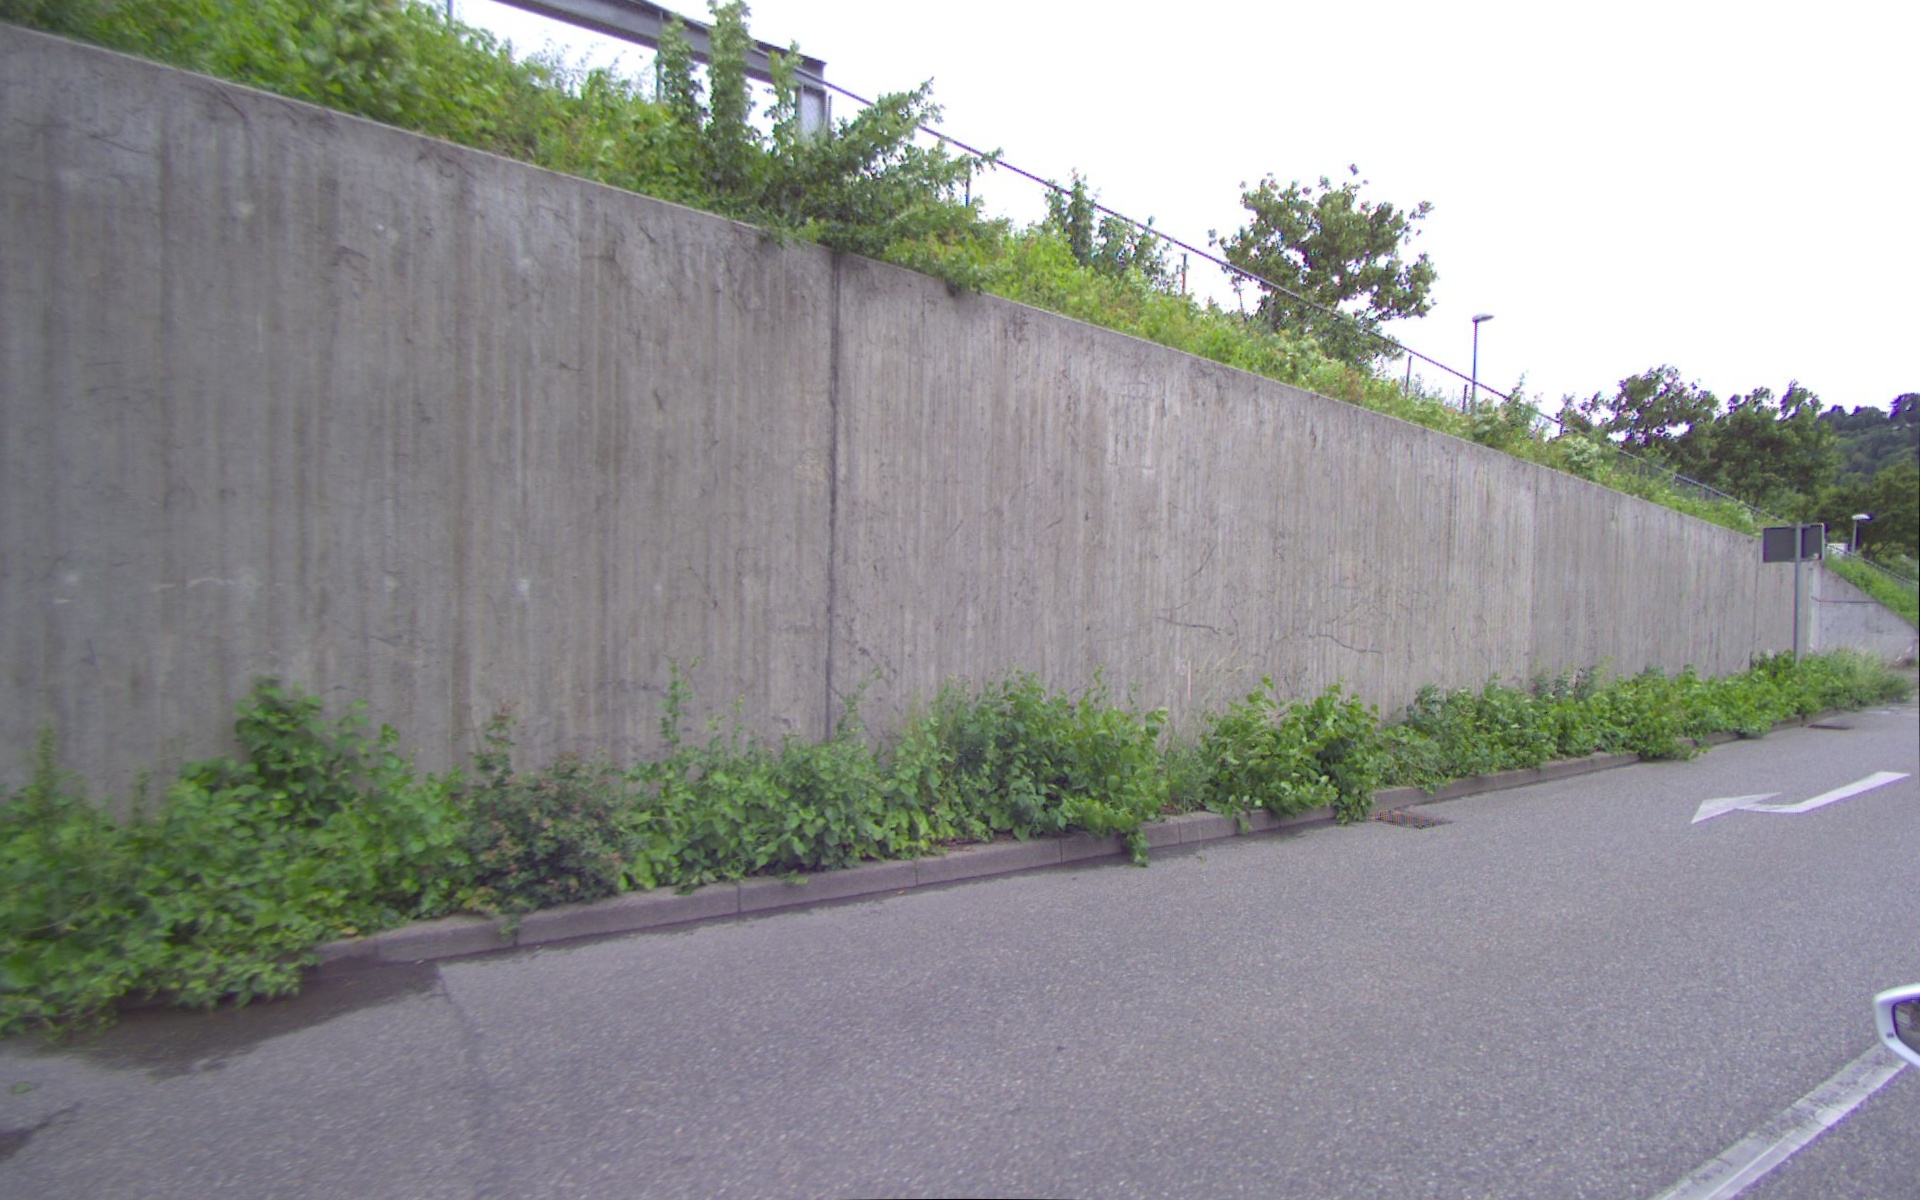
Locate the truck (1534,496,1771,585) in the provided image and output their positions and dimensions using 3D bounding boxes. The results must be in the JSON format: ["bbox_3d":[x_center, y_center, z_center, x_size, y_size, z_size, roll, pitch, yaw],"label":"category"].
[{"bbox_3d":[30.208,-2.603,44.320,7.995,3.585,3.052,2,0,20],"label":"truck"}]

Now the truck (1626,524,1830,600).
[{"bbox_3d":[38.972,-1.935,51.366,7.718,3.585,3.050,2,0,25],"label":"truck"}]

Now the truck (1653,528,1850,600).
[{"bbox_3d":[42.603,-1.951,54.415,7.714,3.585,3.051,2,0,22],"label":"truck"}]
